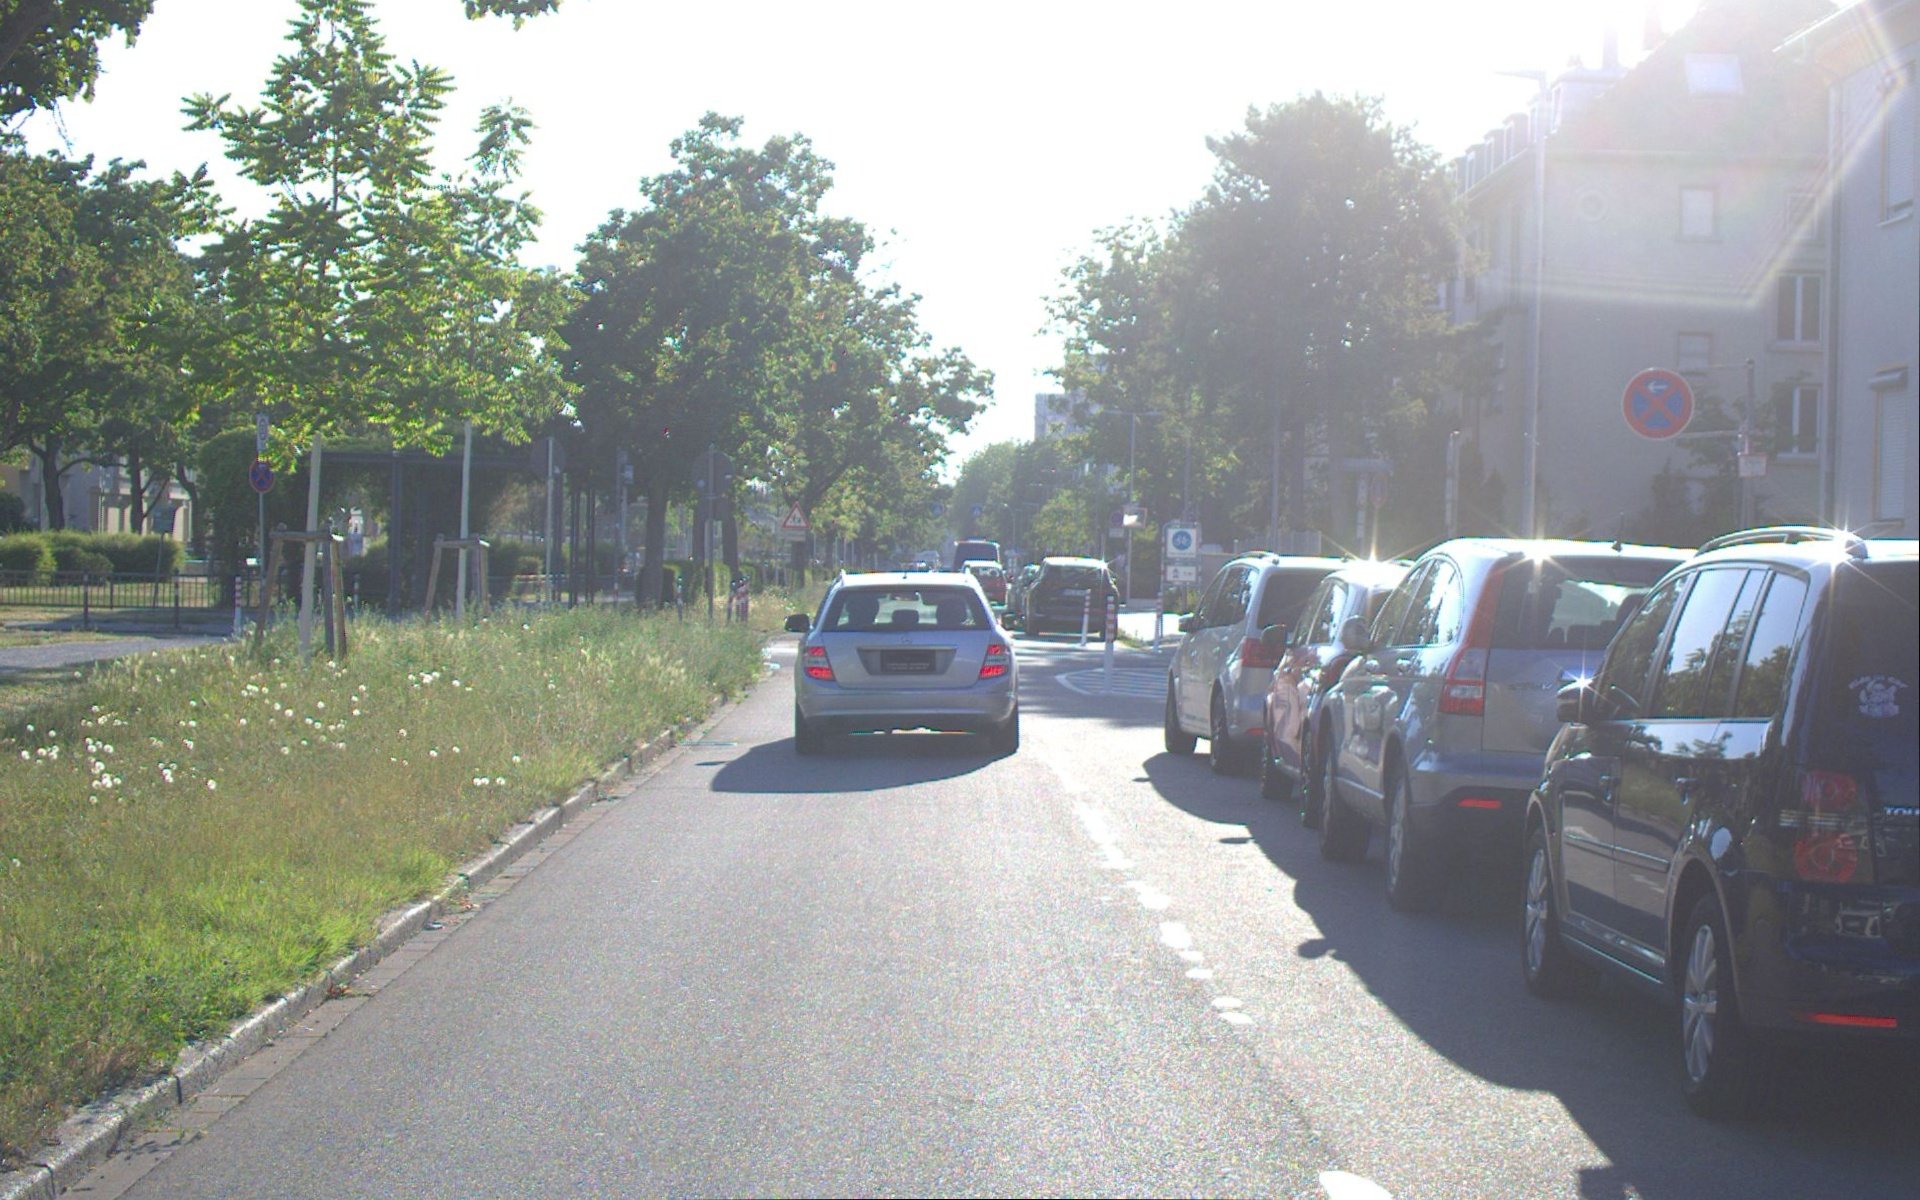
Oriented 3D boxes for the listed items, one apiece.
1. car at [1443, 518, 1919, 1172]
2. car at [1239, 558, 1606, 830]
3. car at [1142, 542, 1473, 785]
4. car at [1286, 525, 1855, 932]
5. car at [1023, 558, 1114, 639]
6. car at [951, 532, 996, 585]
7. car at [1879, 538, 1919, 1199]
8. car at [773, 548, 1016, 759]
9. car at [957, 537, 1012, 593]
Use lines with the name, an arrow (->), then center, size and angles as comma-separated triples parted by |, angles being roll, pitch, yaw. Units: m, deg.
car -> 2.847, 0.641, 11.059 | 1.766, 1.629, 4.765 | 3, 0, -1
car -> 2.784, 0.512, 21.434 | 1.729, 1.521, 3.735 | 0, 1, -1
car -> 2.591, 0.417, 26.689 | 1.716, 1.633, 4.565 | 3, 1, -4
car -> 2.733, 0.511, 16.495 | 1.777, 1.637, 4.757 | 1, 0, -1
car -> 2.196, -0.021, 70.583 | 1.721, 1.591, 4.000 | 1, 0, 0
car -> 0.564, -1.779, 146.850 | 1.861, 2.185, 5.070 | 1, 1, 0
car -> 2.949, 0.713, 5.091 | 1.724, 1.556, 4.417 | 2, 1, -3
car -> -0.495, 0.375, 27.924 | 1.823, 1.561, 4.000 | 0, 1, 0
car -> 0.915, -1.321, 128.731 | 1.988, 2.016, 4.000 | 1, 1, 0
